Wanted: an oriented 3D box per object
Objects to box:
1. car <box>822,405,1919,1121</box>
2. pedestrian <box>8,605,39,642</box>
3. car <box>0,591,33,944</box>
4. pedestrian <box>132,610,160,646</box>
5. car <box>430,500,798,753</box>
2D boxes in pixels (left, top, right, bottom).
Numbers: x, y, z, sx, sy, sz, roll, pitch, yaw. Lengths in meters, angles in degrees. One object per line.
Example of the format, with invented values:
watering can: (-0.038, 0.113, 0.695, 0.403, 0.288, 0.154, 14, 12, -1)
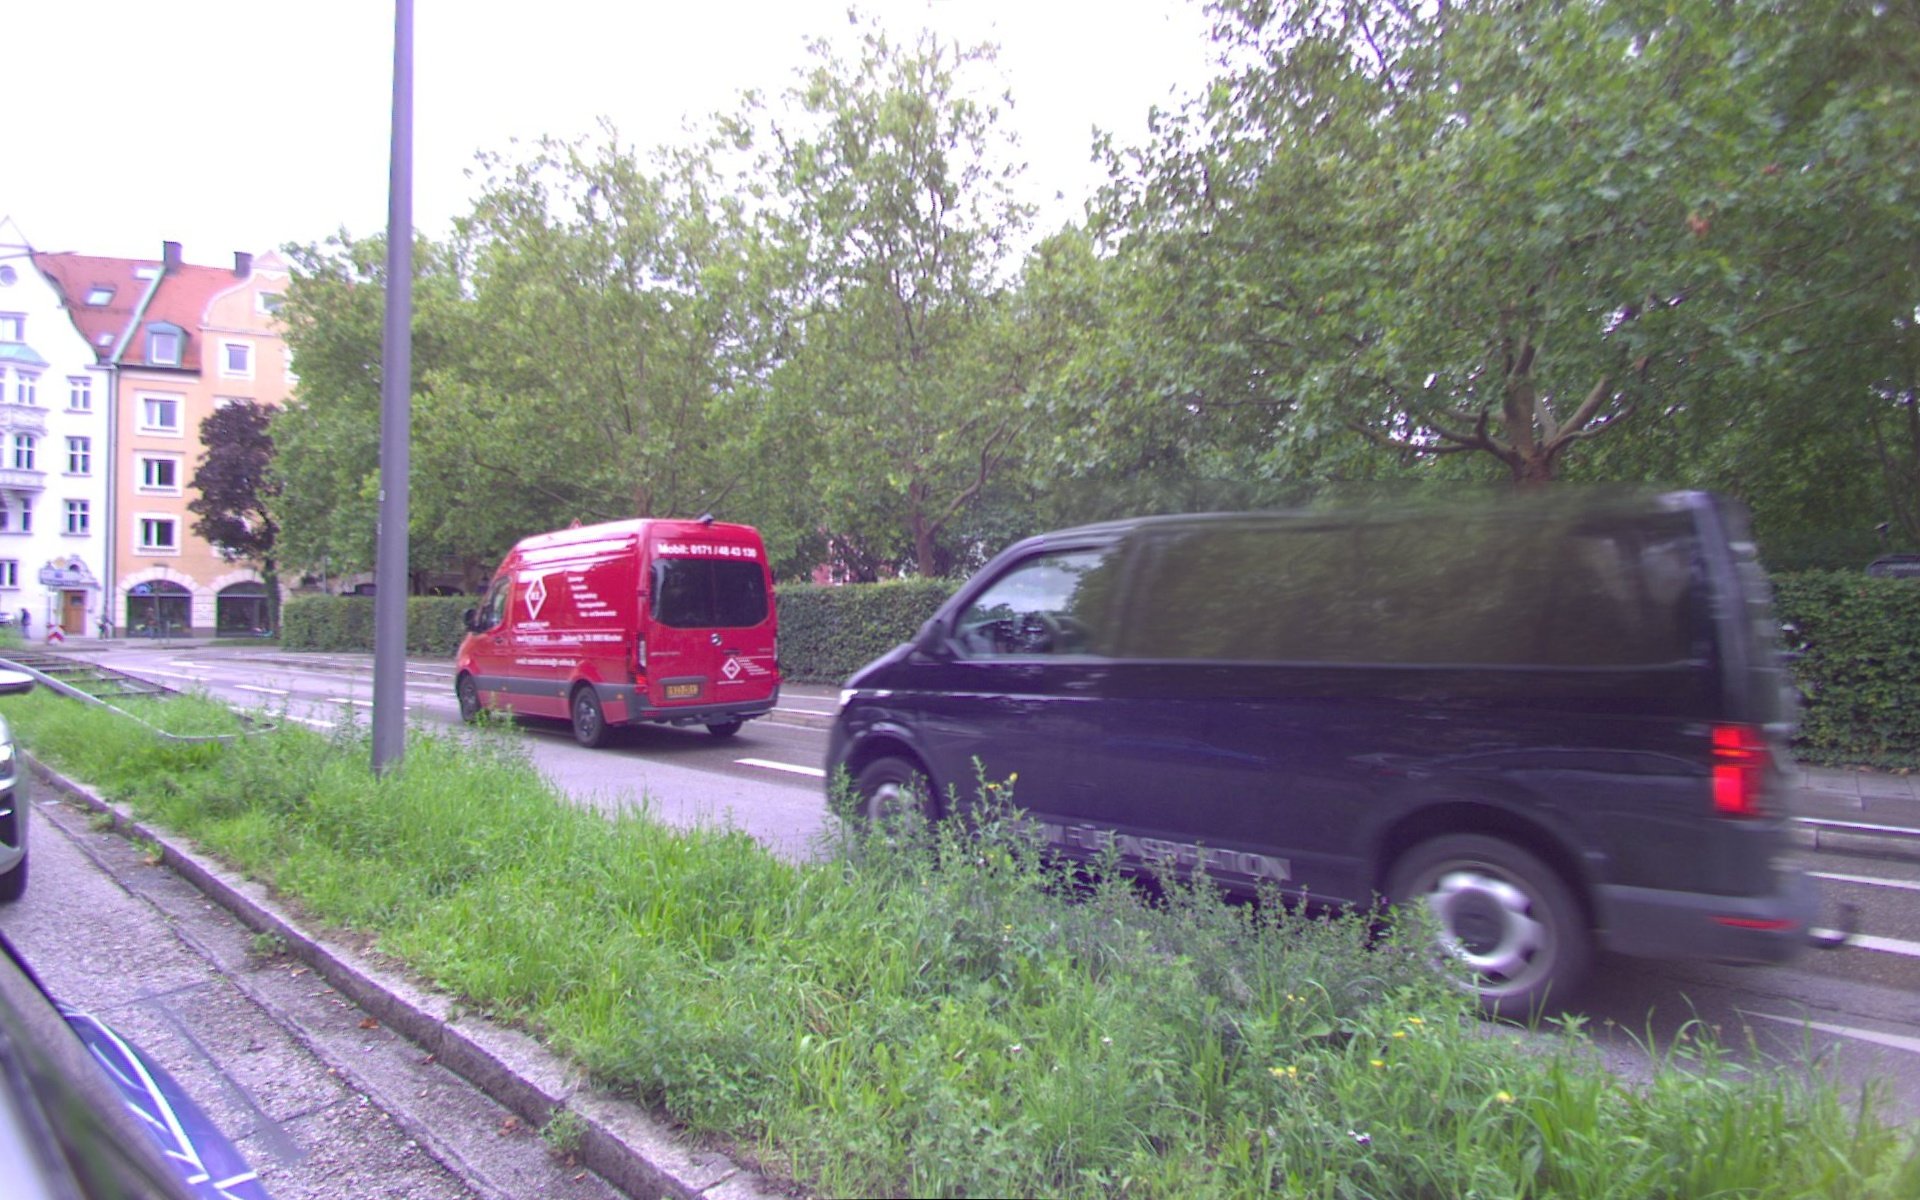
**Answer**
car: (1.579, 0.507, 5.017, 4.702, 2.006, 1.838, -1, -2, 41)
pedestrian: (-52.276, 1.310, 56.510, 0.991, 2.029, 0.881, 0, 0, -18)
car: (-6.156, 0.738, 5.110, 3.884, 1.542, 1.688, -1, -2, 40)
pedestrian: (-46.808, 1.576, 58.199, 0.991, 2.029, 0.881, 0, 0, -18)
car: (-4.802, 0.404, 13.335, 6.083, 2.609, 2.079, -3, -4, 45)
